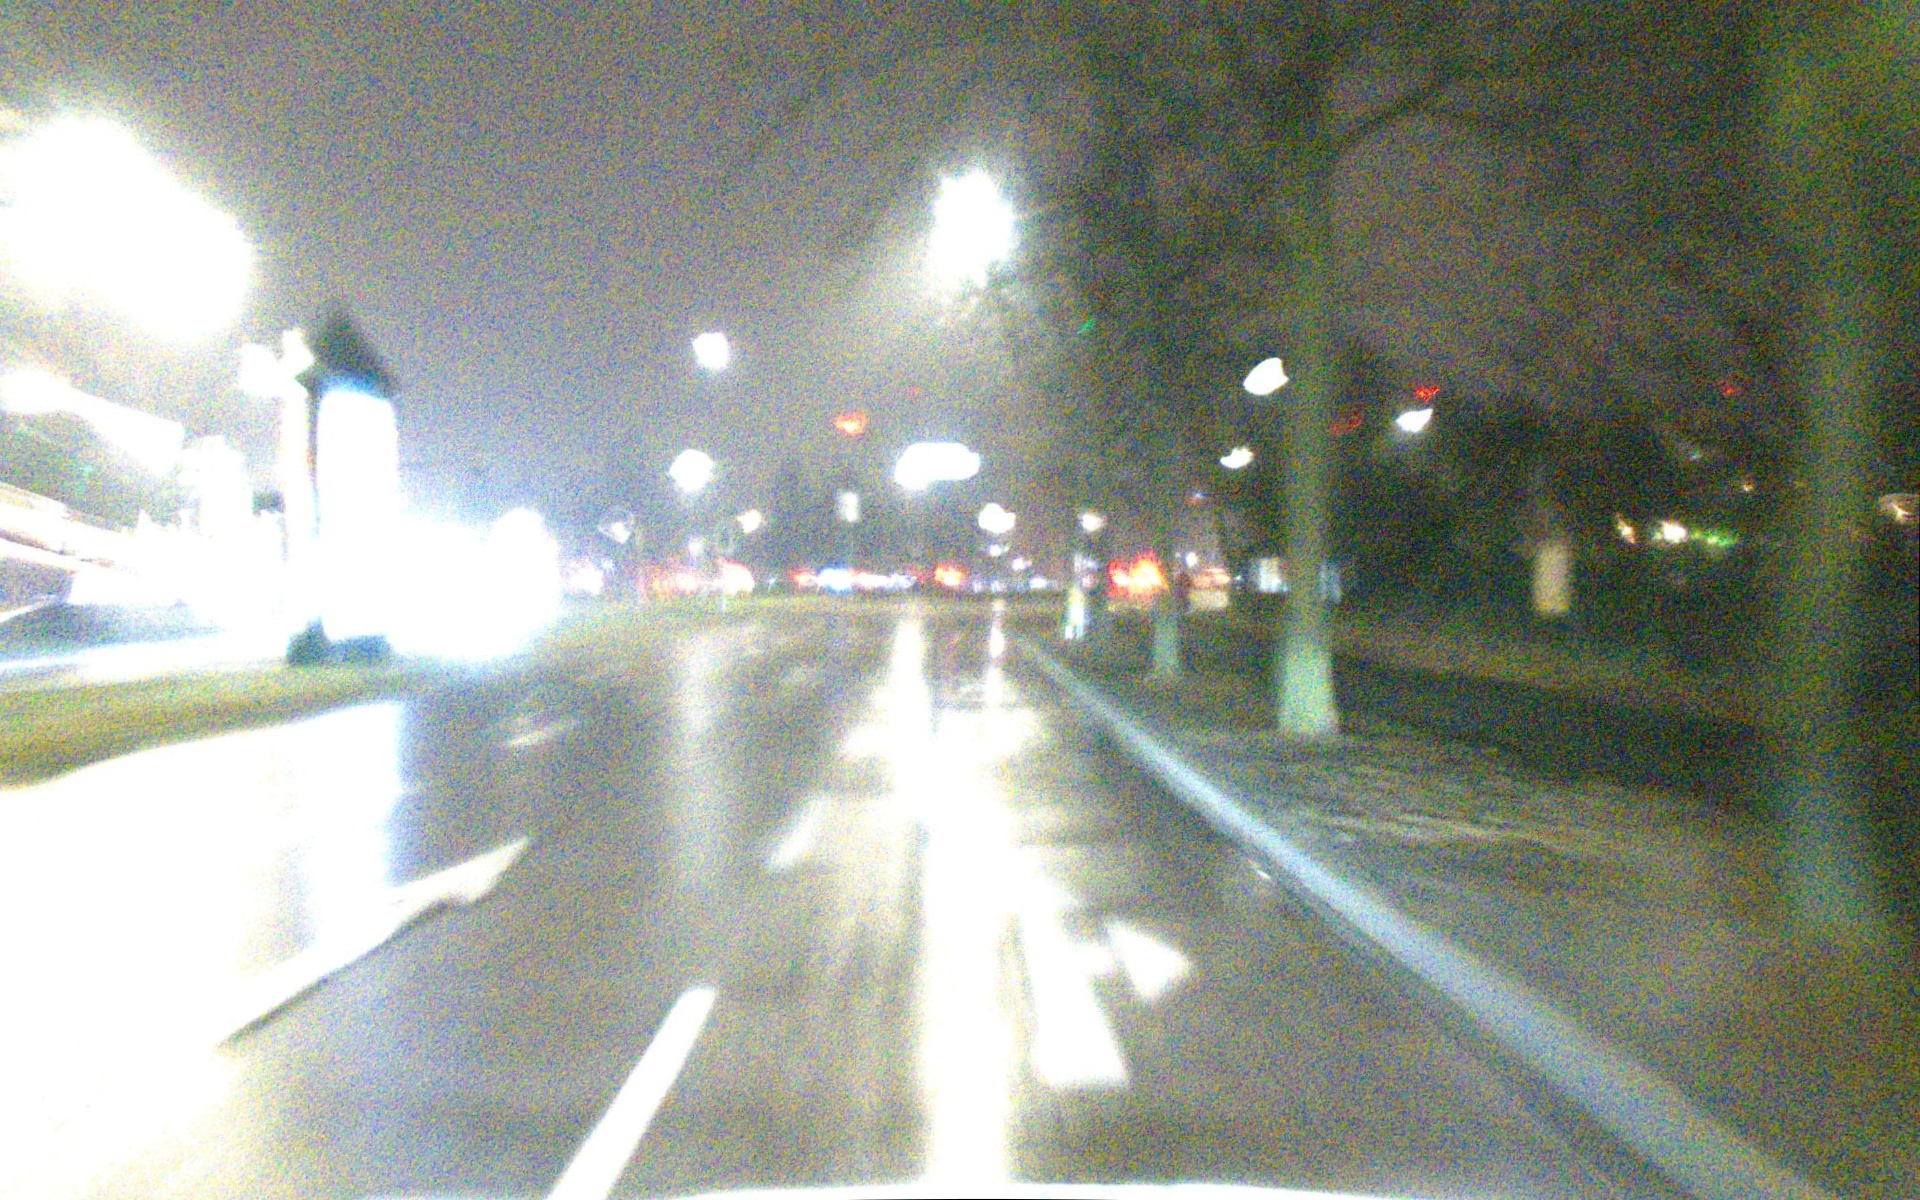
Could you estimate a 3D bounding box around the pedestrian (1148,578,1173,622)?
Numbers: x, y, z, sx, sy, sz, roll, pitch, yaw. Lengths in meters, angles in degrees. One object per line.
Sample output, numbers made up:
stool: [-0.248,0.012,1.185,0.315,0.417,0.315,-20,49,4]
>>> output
pedestrian: [6.910,-0.012,57.054,0.711,1.511,0.836,1,0,-1]

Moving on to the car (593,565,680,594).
car: [-25.038,-1.576,128.149,6.214,2.125,2.495,1,1,-26]

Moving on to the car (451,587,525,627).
car: [-18.818,0.260,66.115,1.792,1.490,4.657,1,1,-2]

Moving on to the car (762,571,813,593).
car: [-13.600,-1.426,130.426,3.873,1.606,1.736,1,1,-3]

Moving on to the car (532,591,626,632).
car: [-19.464,0.585,84.465,4.476,2.049,1.988,1,1,-20]

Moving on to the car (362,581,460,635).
car: [-16.439,0.207,49.711,1.792,1.490,3.998,1,1,-3]

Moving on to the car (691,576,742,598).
car: [-19.202,-1.047,130.474,3.912,1.644,1.834,1,1,-8]

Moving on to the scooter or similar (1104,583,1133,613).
scooter or similar: [6.130,-0.080,63.917,1.080,1.117,0.317,-1,-1,28]

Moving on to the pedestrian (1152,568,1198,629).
pedestrian: [6.614,-0.049,50.961,1.202,1.825,1.490,1,1,-1]

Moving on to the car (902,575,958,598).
car: [-2.335,-1.052,128.872,3.908,1.644,1.835,1,1,25]
